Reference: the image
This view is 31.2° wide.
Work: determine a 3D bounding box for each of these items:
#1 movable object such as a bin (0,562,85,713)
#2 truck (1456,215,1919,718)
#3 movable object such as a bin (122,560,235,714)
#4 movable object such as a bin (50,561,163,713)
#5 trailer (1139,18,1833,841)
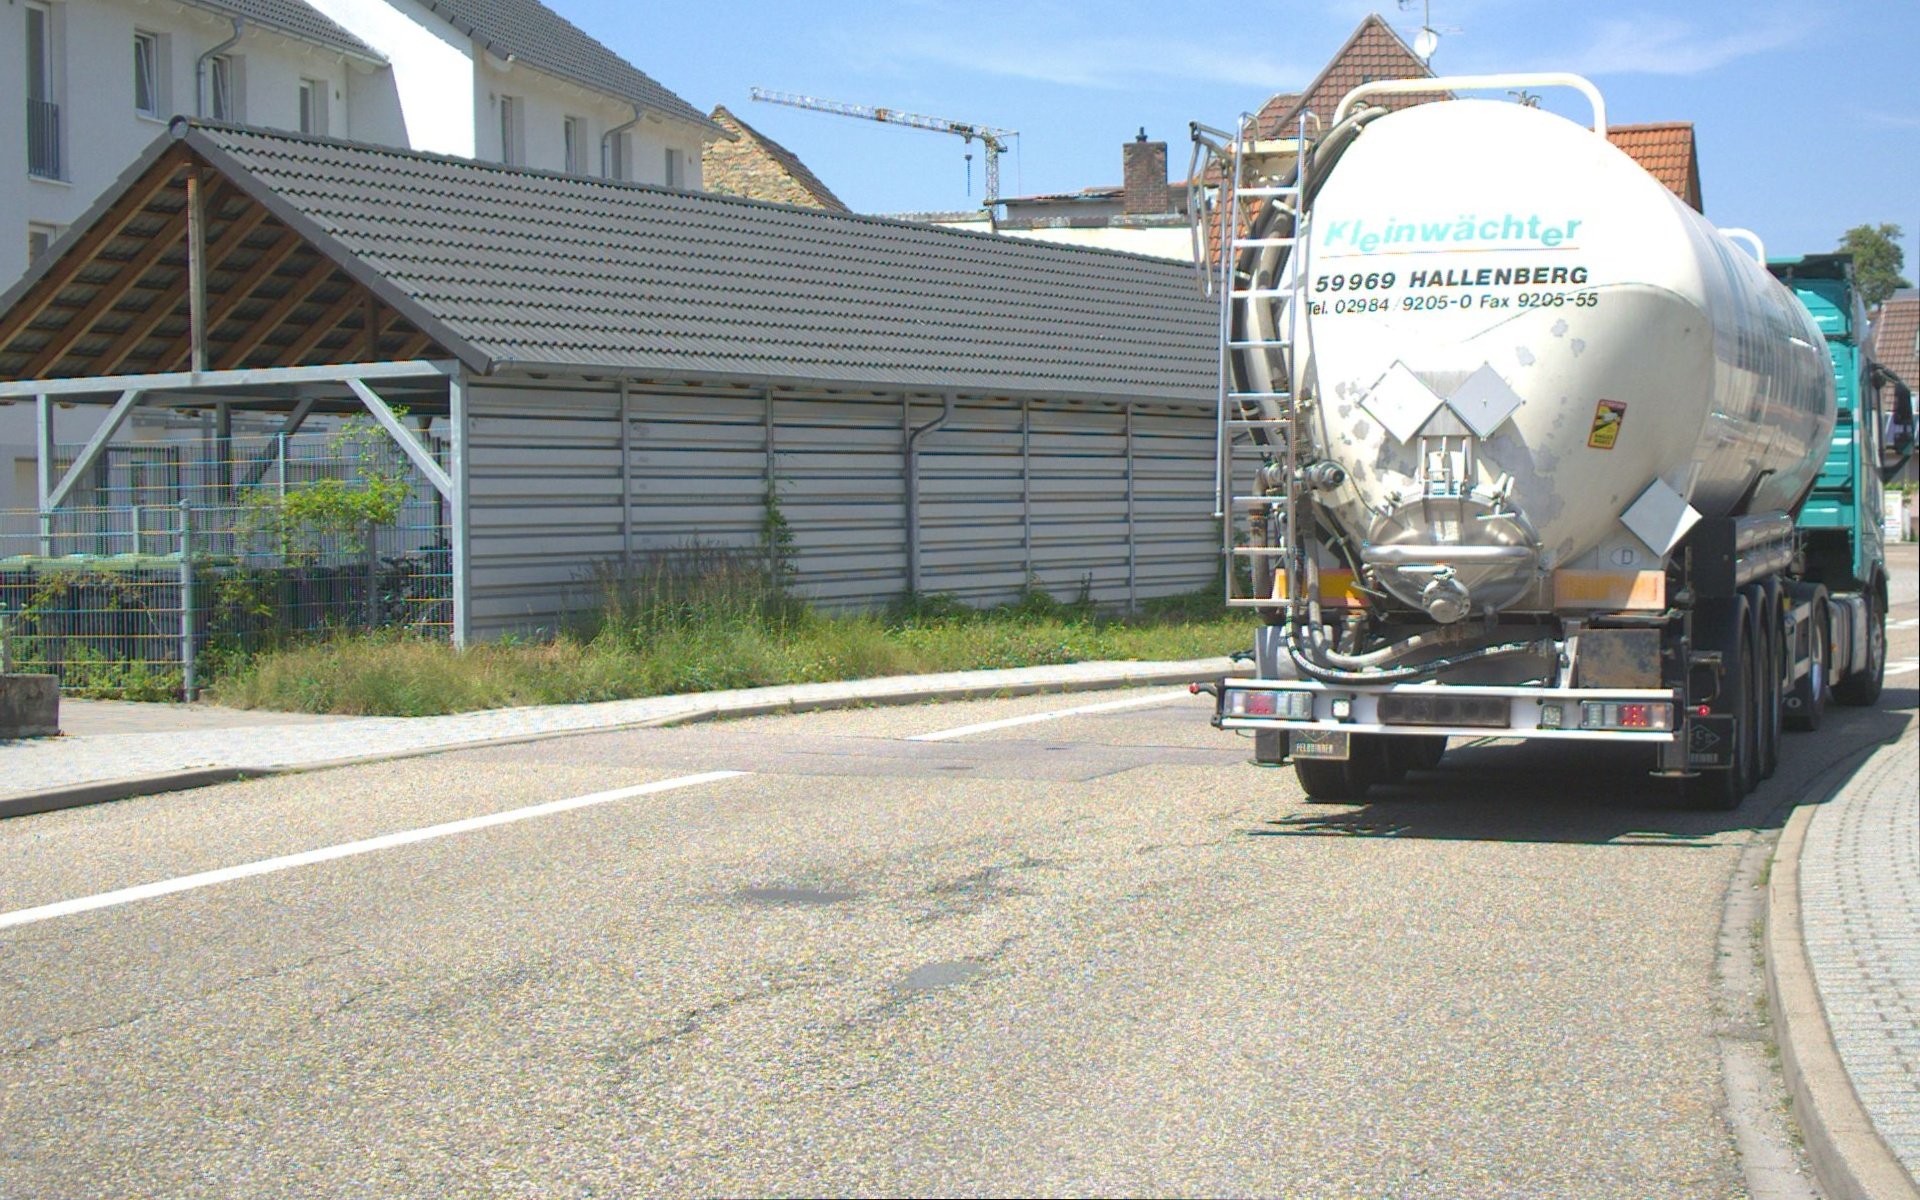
[{"bbox_3d":[-8.040,0.313,29.682,0.641,1.274,0.693,0,1,26],"label":"movable object such as a bin"},{"bbox_3d":[6.615,-1.105,30.215,2.991,3.951,5.571,0,1,25],"label":"truck"},{"bbox_3d":[-6.598,0.302,29.033,0.641,1.274,0.693,0,1,26],"label":"movable object such as a bin"},{"bbox_3d":[-7.292,0.308,29.375,0.641,1.274,0.693,0,1,26],"label":"movable object such as a bin"},{"bbox_3d":[3.956,-0.921,22.436,2.955,3.934,11.610,0,1,16],"label":"trailer"}]
